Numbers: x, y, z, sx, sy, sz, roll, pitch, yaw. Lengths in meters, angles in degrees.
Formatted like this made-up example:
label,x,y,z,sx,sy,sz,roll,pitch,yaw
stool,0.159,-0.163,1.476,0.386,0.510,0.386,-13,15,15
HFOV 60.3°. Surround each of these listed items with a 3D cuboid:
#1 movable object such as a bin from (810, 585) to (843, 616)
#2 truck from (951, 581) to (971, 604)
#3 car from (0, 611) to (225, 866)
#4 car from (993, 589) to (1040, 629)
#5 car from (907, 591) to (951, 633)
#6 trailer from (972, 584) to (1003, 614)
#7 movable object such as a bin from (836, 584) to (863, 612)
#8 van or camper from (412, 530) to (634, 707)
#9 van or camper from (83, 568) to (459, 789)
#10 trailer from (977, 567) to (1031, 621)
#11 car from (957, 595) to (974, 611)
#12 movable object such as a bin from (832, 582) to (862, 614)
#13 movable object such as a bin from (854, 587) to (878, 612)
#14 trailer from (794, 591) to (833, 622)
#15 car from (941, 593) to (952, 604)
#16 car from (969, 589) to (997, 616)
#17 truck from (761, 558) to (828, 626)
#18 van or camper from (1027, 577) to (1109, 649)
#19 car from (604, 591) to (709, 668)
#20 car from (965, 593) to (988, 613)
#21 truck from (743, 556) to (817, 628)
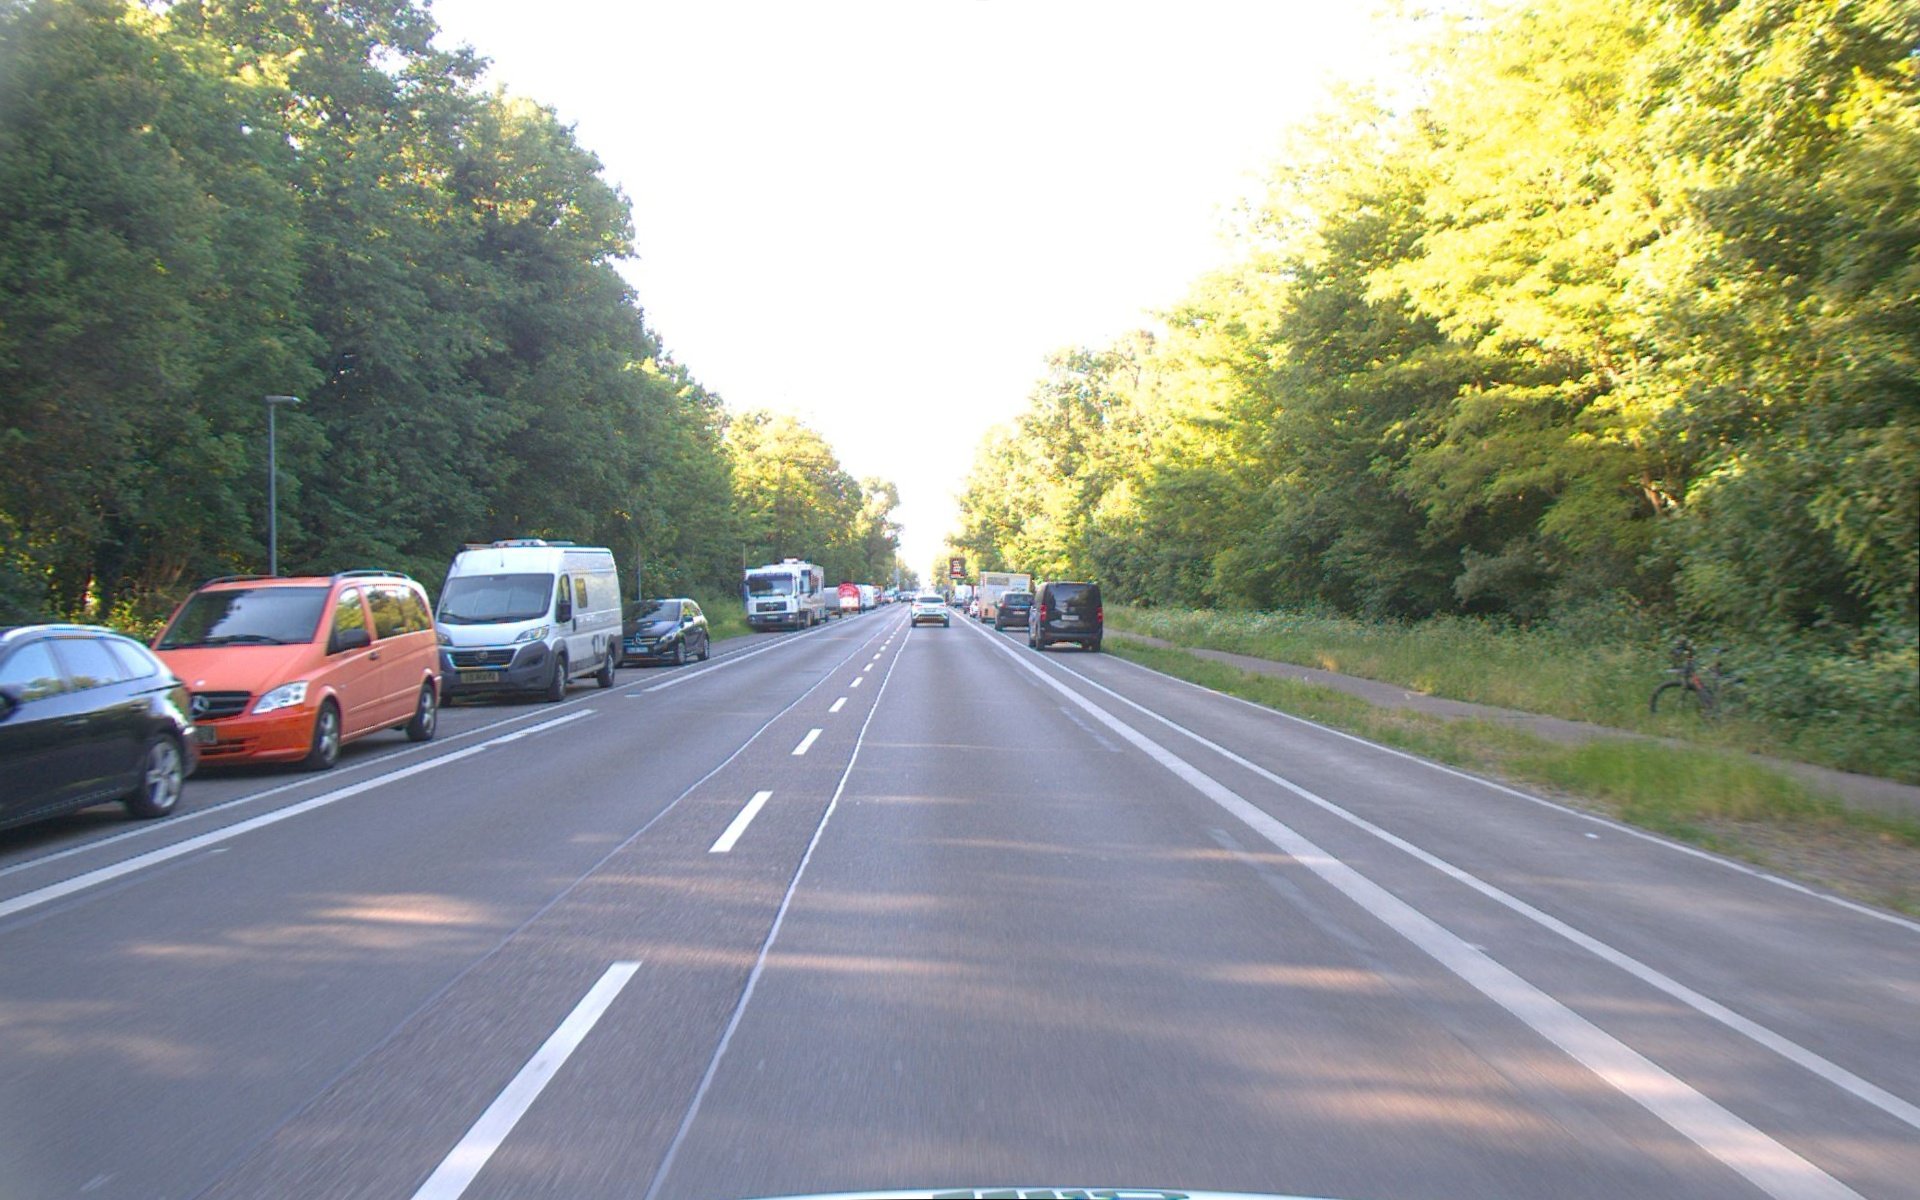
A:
label,x,y,z,sx,sy,sz,roll,pitch,yaw
movable object such as a bin,-8.995,0.016,111.683,1.914,2.049,3.999,-1,0,-1
truck,0.108,-0.794,183.751,2.054,2.495,5.679,-1,0,-1
car,-6.687,0.885,10.957,1.696,1.503,4.323,-2,0,-1
car,2.385,0.359,70.755,1.804,1.691,3.999,0,0,-1
car,-1.451,0.555,78.297,1.987,1.872,4.028,-1,1,-1
trailer,1.909,-0.086,115.579,1.953,2.004,3.999,-1,0,-1
movable object such as a bin,-10.037,-0.178,150.313,2.275,2.545,3.999,-1,0,-1
van or camper,-7.221,0.260,28.146,2.077,2.617,6.541,-1,0,-1
van or camper,-6.907,0.687,17.251,1.884,1.899,4.862,-2,0,-1
trailer,2.441,-0.353,92.906,2.701,2.920,6.587,-1,0,-1
car,0.527,0.259,159.920,1.622,1.504,3.753,-1,0,-1
movable object such as a bin,-9.245,-0.159,135.820,2.275,2.545,3.999,-1,0,-1
movable object such as a bin,-9.825,-0.080,172.879,2.275,2.545,3.999,-1,0,-1
trailer,-8.672,0.341,98.194,1.953,1.780,4.327,-1,0,-1
car,-1.944,-0.265,236.831,1.622,1.504,3.753,-1,0,-1
car,1.466,0.134,108.886,1.697,1.713,3.999,-1,0,-1
truck,-8.686,-0.433,87.890,2.653,3.406,10.921,0,0,-1
van or camper,3.083,0.353,48.118,1.953,1.966,5.198,1,0,-1
car,-7.289,0.664,40.091,1.745,1.713,4.377,-2,0,-1
car,1.279,0.196,129.137,1.622,1.504,3.753,-1,0,-1
truck,-8.287,-0.368,76.901,2.653,3.147,7.987,0,0,-1
